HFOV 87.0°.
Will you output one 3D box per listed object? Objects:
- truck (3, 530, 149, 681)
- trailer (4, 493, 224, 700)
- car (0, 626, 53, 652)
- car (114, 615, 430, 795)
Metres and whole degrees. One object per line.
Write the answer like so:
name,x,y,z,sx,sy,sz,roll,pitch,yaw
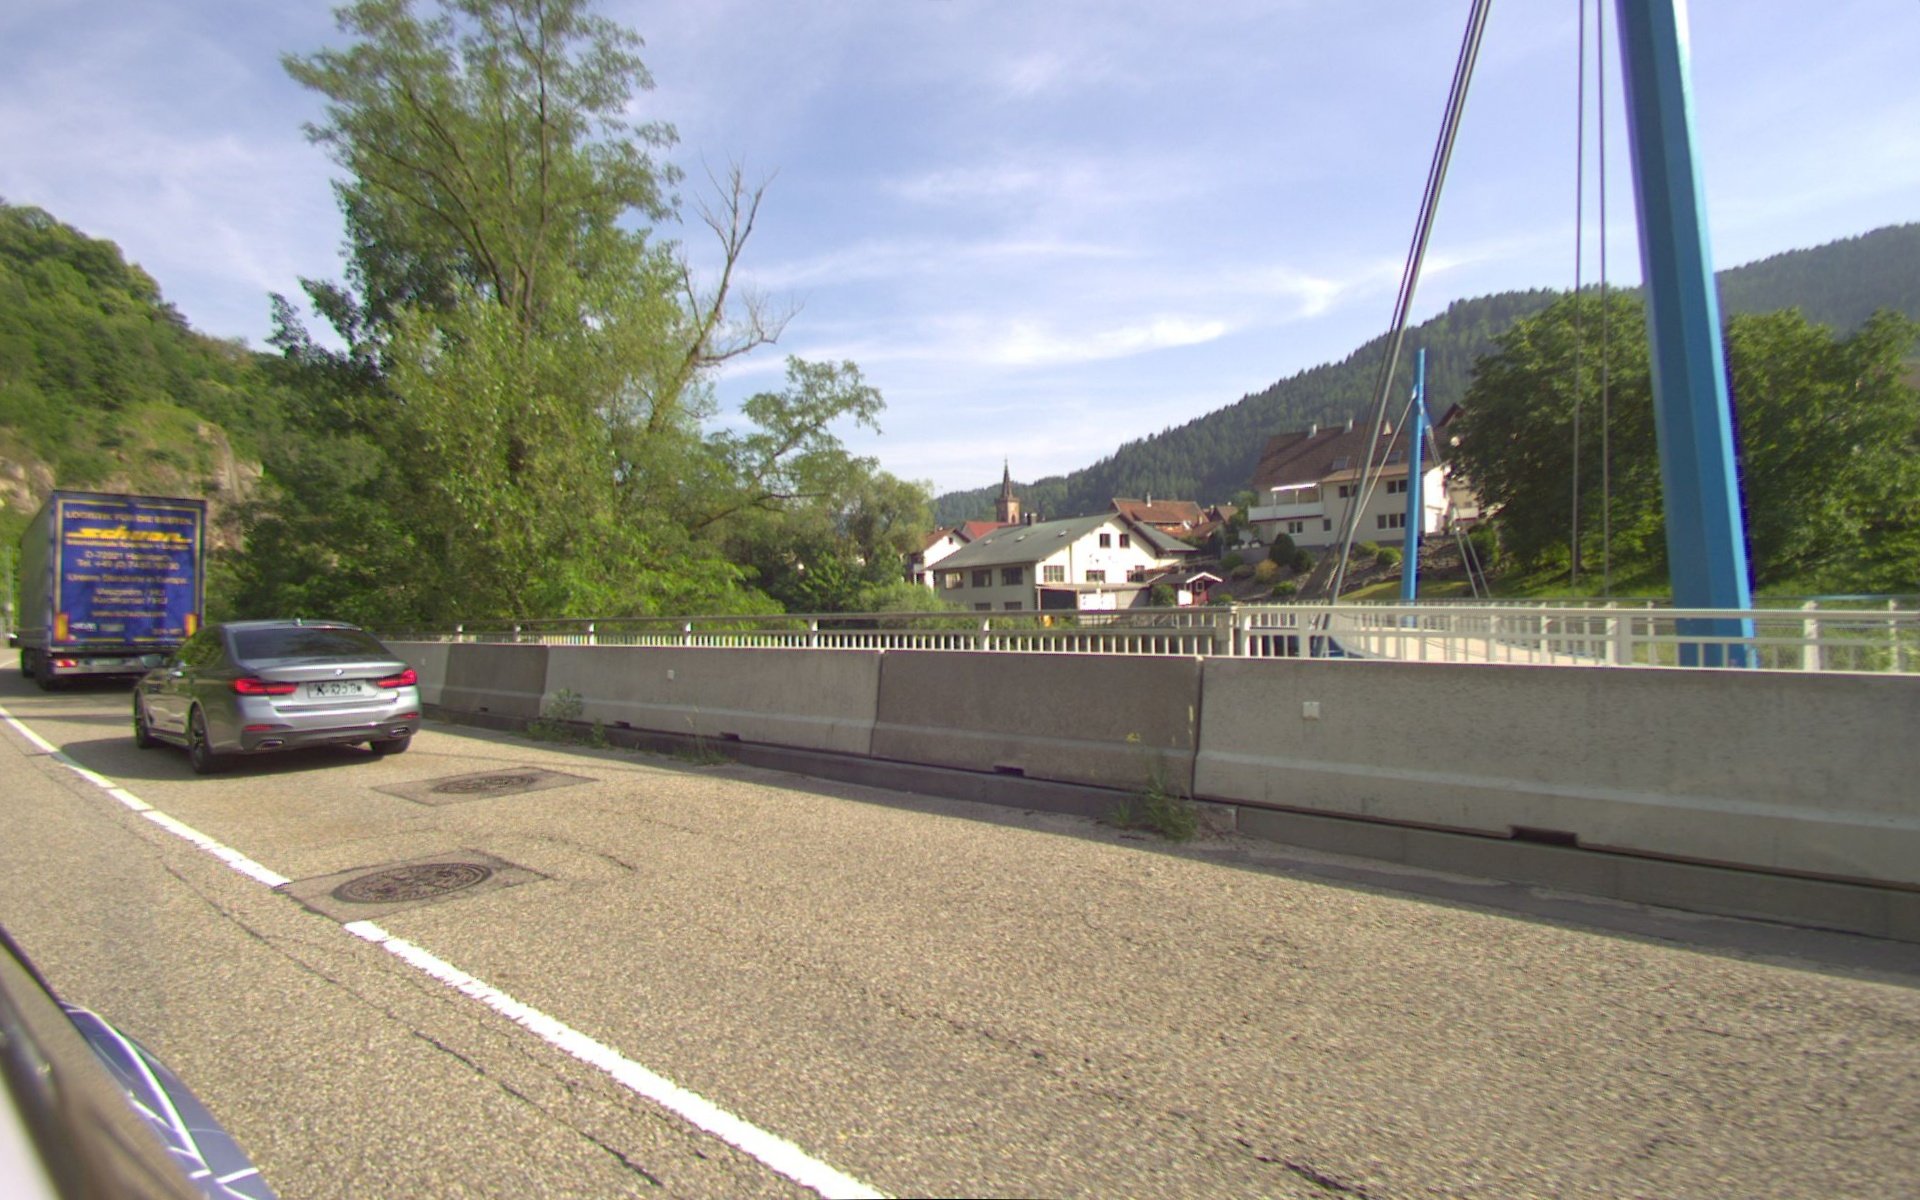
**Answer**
truck,-26.596,0.255,30.351,6.414,4.059,2.710,-2,-3,44
trailer,-21.796,0.117,25.595,13.674,4.043,2.824,-2,-3,44
car,-55.489,2.312,60.005,1.966,1.506,4.231,2,-3,-34
car,-7.638,0.946,11.004,4.936,1.507,1.817,-1,-1,43
